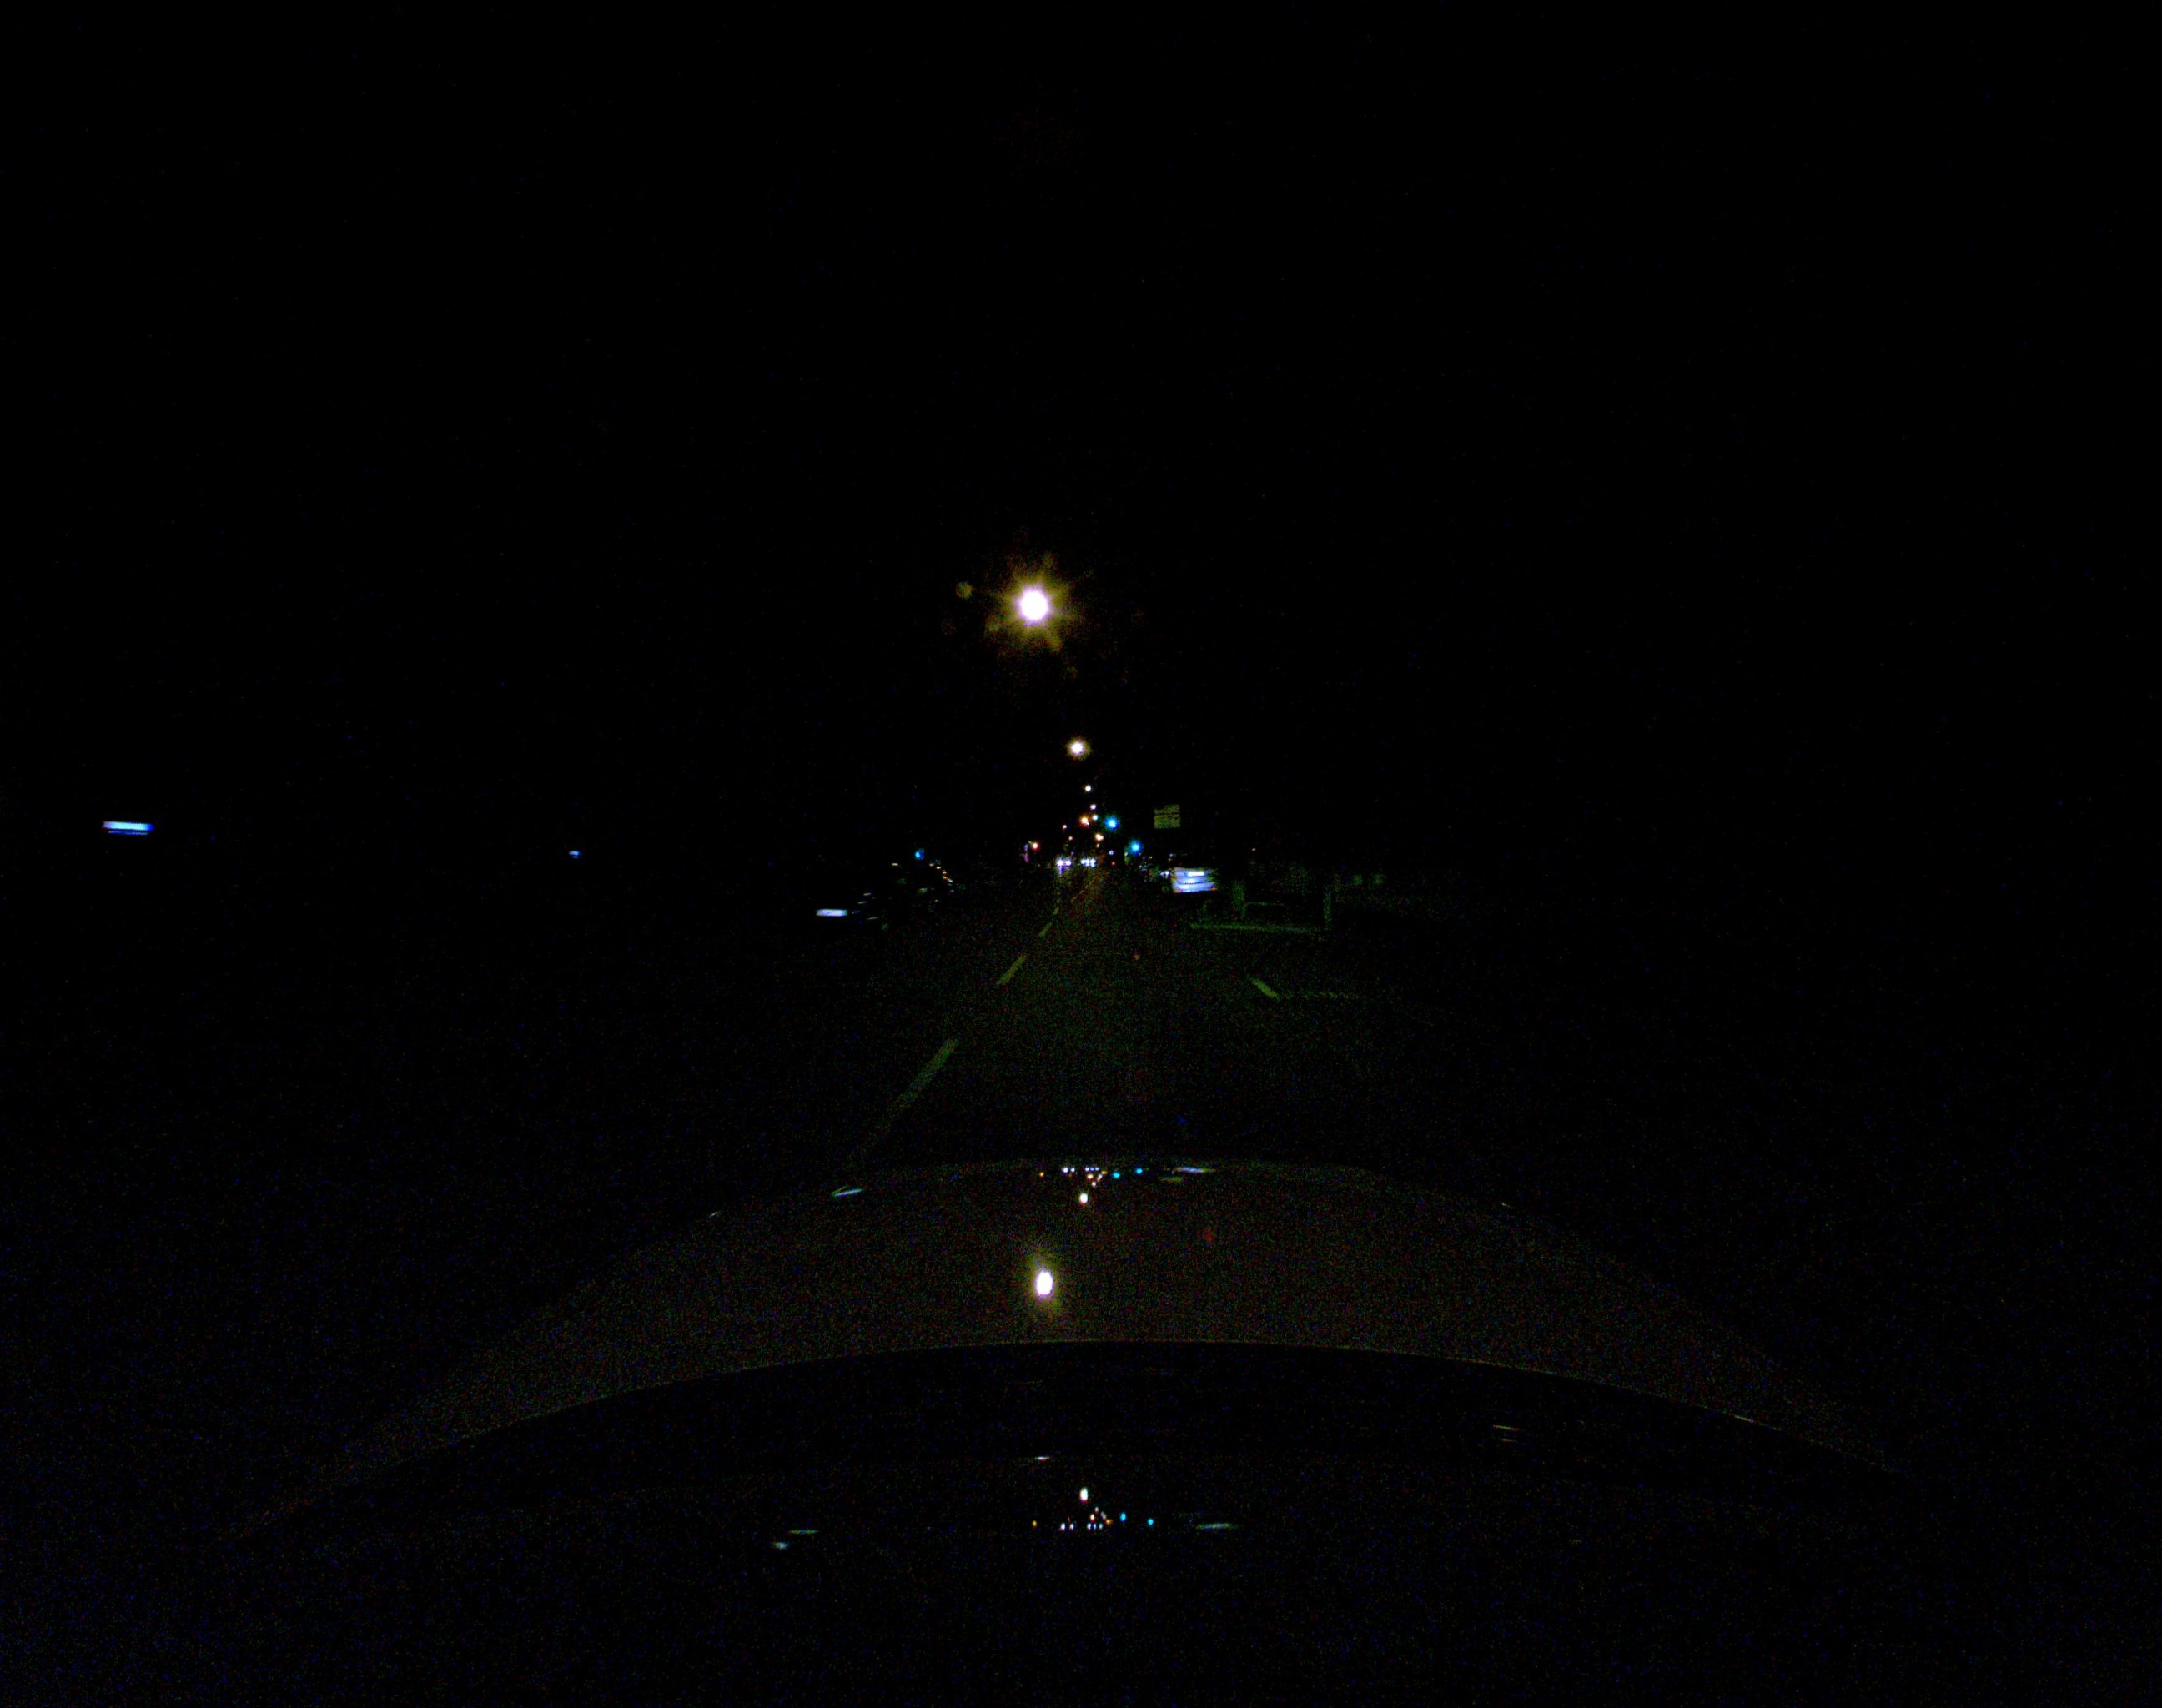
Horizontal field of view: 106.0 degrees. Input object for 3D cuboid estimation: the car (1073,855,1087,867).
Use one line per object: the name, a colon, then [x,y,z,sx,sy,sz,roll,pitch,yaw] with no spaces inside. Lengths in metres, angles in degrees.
car: [-0.166,1.072,119.508,1.937,1.717,4.001,0,-1,2]

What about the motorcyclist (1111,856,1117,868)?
motorcyclist: [4.759,1.212,118.140,0.845,1.752,0.806,0,-2,2]

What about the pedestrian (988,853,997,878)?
pedestrian: [-6.229,0.806,57.320,0.569,1.700,0.927,0,-2,-8]

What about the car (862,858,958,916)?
car: [-4.747,0.858,23.285,1.715,1.437,4.810,0,0,0]

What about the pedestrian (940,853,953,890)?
pedestrian: [-6.254,0.809,37.961,0.580,1.700,0.530,0,-2,-7]

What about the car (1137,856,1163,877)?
car: [5.133,0.934,60.871,1.623,1.496,3.414,0,0,0]

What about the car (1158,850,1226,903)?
car: [3.725,0.707,27.986,1.805,1.594,4.275,-3,0,2]

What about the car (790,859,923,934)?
car: [-4.787,0.844,17.996,1.715,1.437,4.191,0,0,1]

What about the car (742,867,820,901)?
car: [-13.675,1.350,37.119,3.224,1.453,1.806,-1,-2,34]

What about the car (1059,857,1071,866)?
car: [-2.638,1.264,131.287,1.708,1.457,3.923,0,-1,2]

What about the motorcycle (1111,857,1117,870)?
motorcycle: [4.768,1.391,118.243,0.927,1.752,2.626,0,-1,2]

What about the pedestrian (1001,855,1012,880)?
pedestrian: [-5.287,0.959,57.693,0.717,1.765,0.602,0,-2,-7]

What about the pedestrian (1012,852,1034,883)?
pedestrian: [-3.315,0.781,46.369,0.757,1.700,0.932,1,0,39]

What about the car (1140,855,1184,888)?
car: [4.050,0.833,41.301,1.861,1.526,4.151,-3,0,2]
